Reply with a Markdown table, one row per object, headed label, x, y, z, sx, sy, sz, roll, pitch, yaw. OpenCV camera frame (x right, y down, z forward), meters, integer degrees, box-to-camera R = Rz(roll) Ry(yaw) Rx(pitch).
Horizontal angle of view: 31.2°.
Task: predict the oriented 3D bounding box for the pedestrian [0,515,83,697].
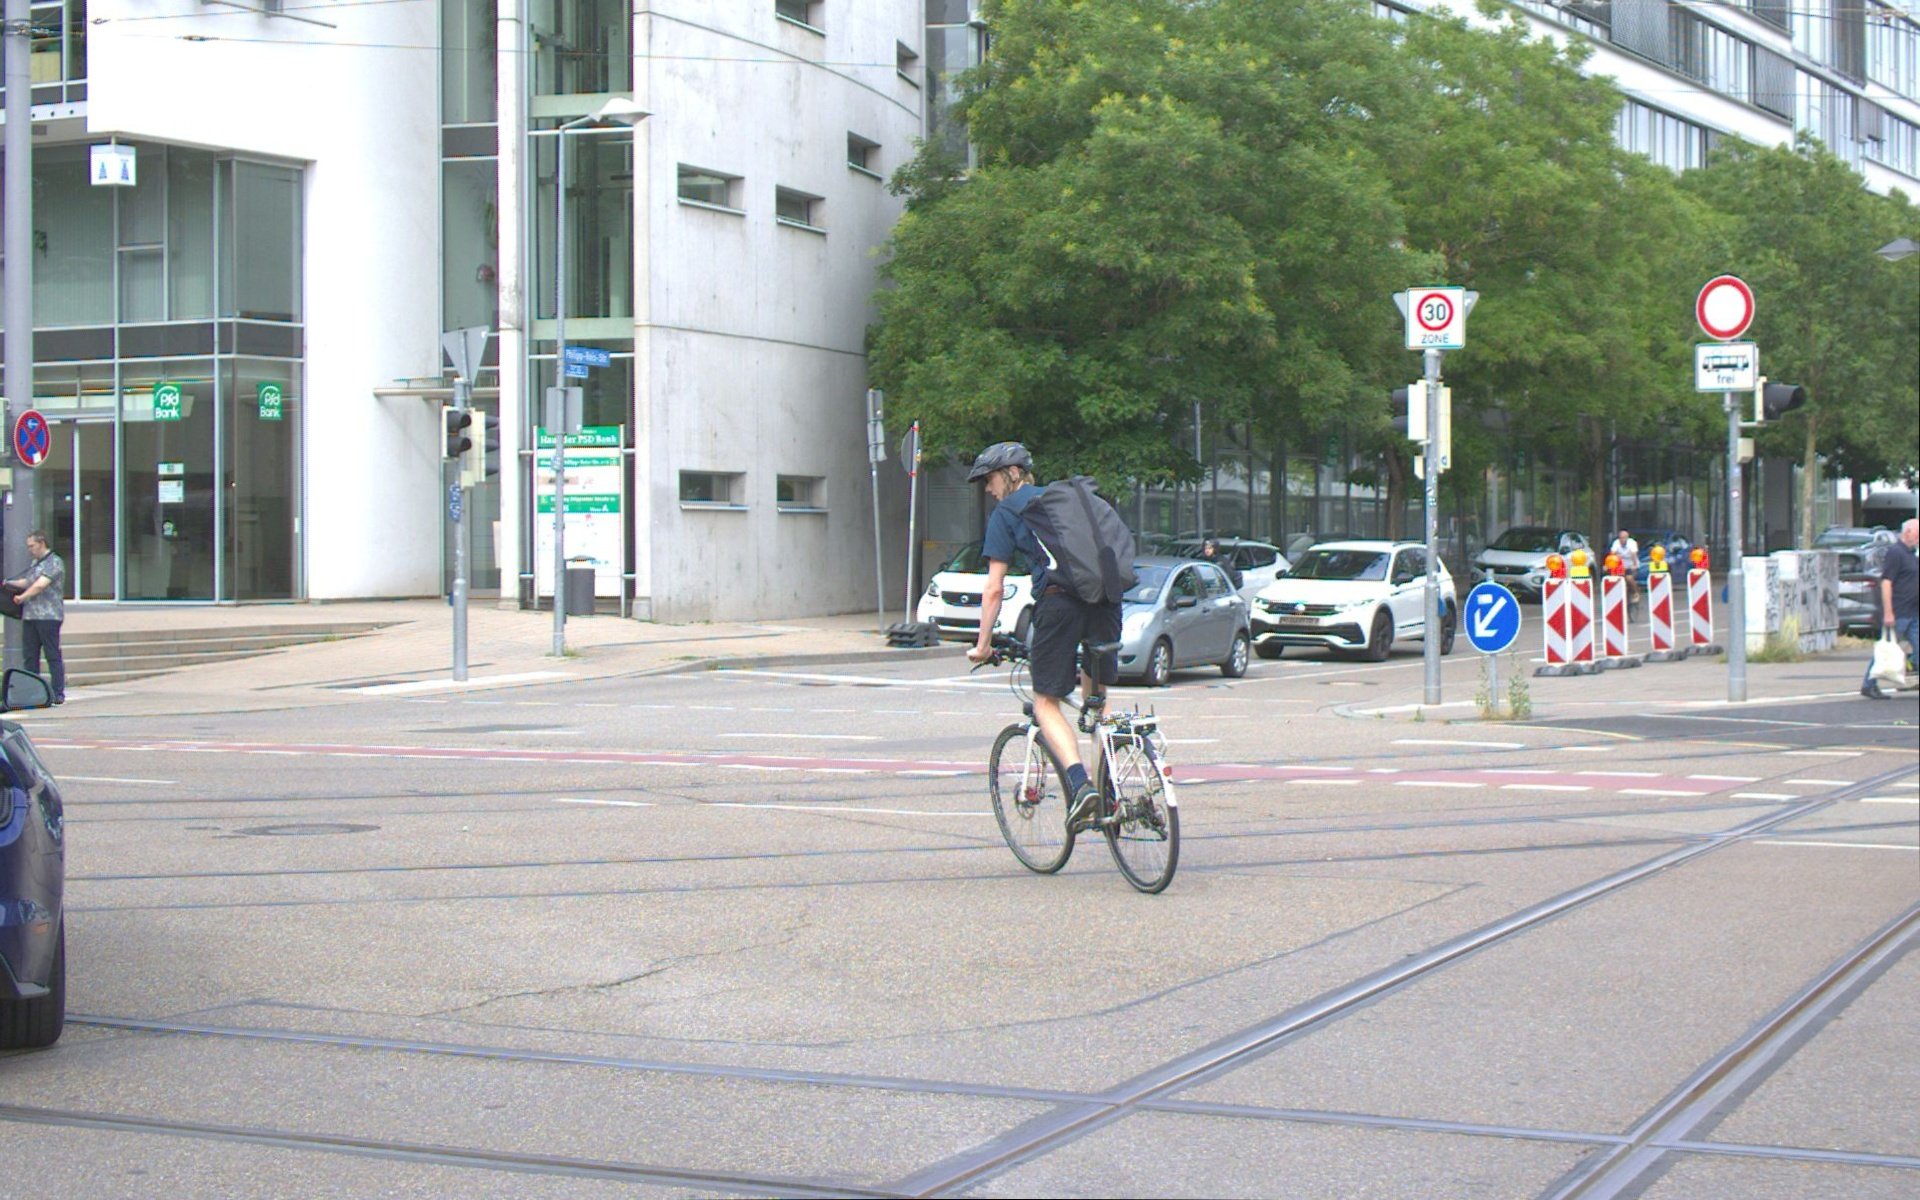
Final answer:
| label | x | y | z | sx | sy | sz | roll | pitch | yaw |
| --- | --- | --- | --- | --- | --- | --- | --- | --- | --- |
| pedestrian | -9.659 | 0.052 | 35.550 | 0.835 | 1.858 | 0.764 | 0 | 1 | 35 |

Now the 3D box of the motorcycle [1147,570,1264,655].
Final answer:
| label | x | y | z | sx | sy | sz | roll | pitch | yaw |
| --- | --- | --- | --- | --- | --- | --- | --- | --- | --- |
| motorcycle | 3.671 | 0.170 | 51.167 | 0.826 | 1.195 | 2.498 | 1 | 1 | 27 |

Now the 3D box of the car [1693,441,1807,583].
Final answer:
| label | x | y | z | sx | sy | sz | roll | pitch | yaw |
| --- | --- | --- | --- | --- | --- | --- | --- | --- | --- |
| car | 20.968 | -2.320 | 91.144 | 1.989 | 3.624 | 4.507 | 2 | 2 | 24 |

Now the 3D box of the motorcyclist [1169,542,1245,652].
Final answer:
| label | x | y | z | sx | sy | sz | roll | pitch | yaw |
| --- | --- | --- | --- | --- | --- | --- | --- | --- | --- |
| motorcyclist | 3.682 | -0.050 | 51.177 | 0.820 | 1.611 | 0.881 | 1 | 1 | 27 |

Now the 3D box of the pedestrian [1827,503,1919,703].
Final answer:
| label | x | y | z | sx | sy | sz | roll | pitch | yaw |
| --- | --- | --- | --- | --- | --- | --- | --- | --- | --- |
| pedestrian | 8.819 | 0.018 | 32.324 | 0.991 | 1.849 | 0.900 | 0 | 1 | 40 |

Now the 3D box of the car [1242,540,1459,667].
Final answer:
| label | x | y | z | sx | sy | sz | roll | pitch | yaw |
| --- | --- | --- | --- | --- | --- | --- | --- | --- | --- |
| car | 5.597 | 0.010 | 48.884 | 1.717 | 1.654 | 4.127 | 2 | 2 | 27 |

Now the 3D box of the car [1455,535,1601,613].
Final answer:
| label | x | y | z | sx | sy | sz | roll | pitch | yaw |
| --- | --- | --- | --- | --- | --- | --- | --- | --- | --- |
| car | 12.303 | -0.590 | 74.215 | 1.989 | 1.551 | 4.507 | 2 | 2 | 24 |

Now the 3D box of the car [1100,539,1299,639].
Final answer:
| label | x | y | z | sx | sy | sz | roll | pitch | yaw |
| --- | --- | --- | --- | --- | --- | --- | --- | --- | --- |
| car | 4.081 | -0.218 | 57.969 | 1.832 | 1.551 | 4.211 | 3 | 2 | 27 |

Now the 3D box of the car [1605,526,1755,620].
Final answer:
| label | x | y | z | sx | sy | sz | roll | pitch | yaw |
| --- | --- | --- | --- | --- | --- | --- | --- | --- | --- |
| car | 13.595 | -0.543 | 64.733 | 1.717 | 1.654 | 4.127 | 2 | 2 | 27 |

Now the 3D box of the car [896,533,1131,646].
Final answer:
| label | x | y | z | sx | sy | sz | roll | pitch | yaw |
| --- | --- | --- | --- | --- | --- | --- | --- | --- | --- |
| car | 0.855 | -0.197 | 51.477 | 1.832 | 1.551 | 4.211 | 3 | 2 | 27 |

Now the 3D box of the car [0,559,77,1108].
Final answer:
| label | x | y | z | sx | sy | sz | roll | pitch | yaw |
| --- | --- | --- | --- | --- | --- | --- | --- | --- | --- |
| car | -3.821 | 0.590 | 10.938 | 1.875 | 1.399 | 4.283 | 0 | 1 | -13 |

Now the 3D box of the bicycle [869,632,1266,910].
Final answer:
| label | x | y | z | sx | sy | sz | roll | pitch | yaw |
| --- | --- | --- | --- | --- | --- | --- | --- | --- | --- |
| bicycle | 0.433 | 0.713 | 15.217 | 0.800 | 1.083 | 2.132 | -1 | 1 | -28 |

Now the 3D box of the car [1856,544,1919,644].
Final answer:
| label | x | y | z | sx | sy | sz | roll | pitch | yaw |
| --- | --- | --- | --- | --- | --- | --- | --- | --- | --- |
| car | 16.126 | -0.128 | 57.399 | 1.706 | 1.600 | 4.074 | 0 | 1 | 23 |

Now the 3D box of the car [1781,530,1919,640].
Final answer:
| label | x | y | z | sx | sy | sz | roll | pitch | yaw |
| --- | --- | --- | --- | --- | --- | --- | --- | --- | --- |
| car | 13.871 | -0.255 | 52.679 | 1.881 | 1.623 | 4.082 | 0 | 1 | 23 |

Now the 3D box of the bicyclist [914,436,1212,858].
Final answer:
| label | x | y | z | sx | sy | sz | roll | pitch | yaw |
| --- | --- | --- | --- | --- | --- | --- | --- | --- | --- |
| bicyclist | 0.439 | 0.185 | 15.194 | 0.796 | 1.779 | 1.233 | -1 | 1 | -29 |

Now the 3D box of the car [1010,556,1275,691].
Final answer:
| label | x | y | z | sx | sy | sz | roll | pitch | yaw |
| --- | --- | --- | --- | --- | --- | --- | --- | --- | --- |
| car | 2.309 | 0.245 | 42.417 | 1.670 | 1.501 | 4.229 | 2 | 2 | 27 |
